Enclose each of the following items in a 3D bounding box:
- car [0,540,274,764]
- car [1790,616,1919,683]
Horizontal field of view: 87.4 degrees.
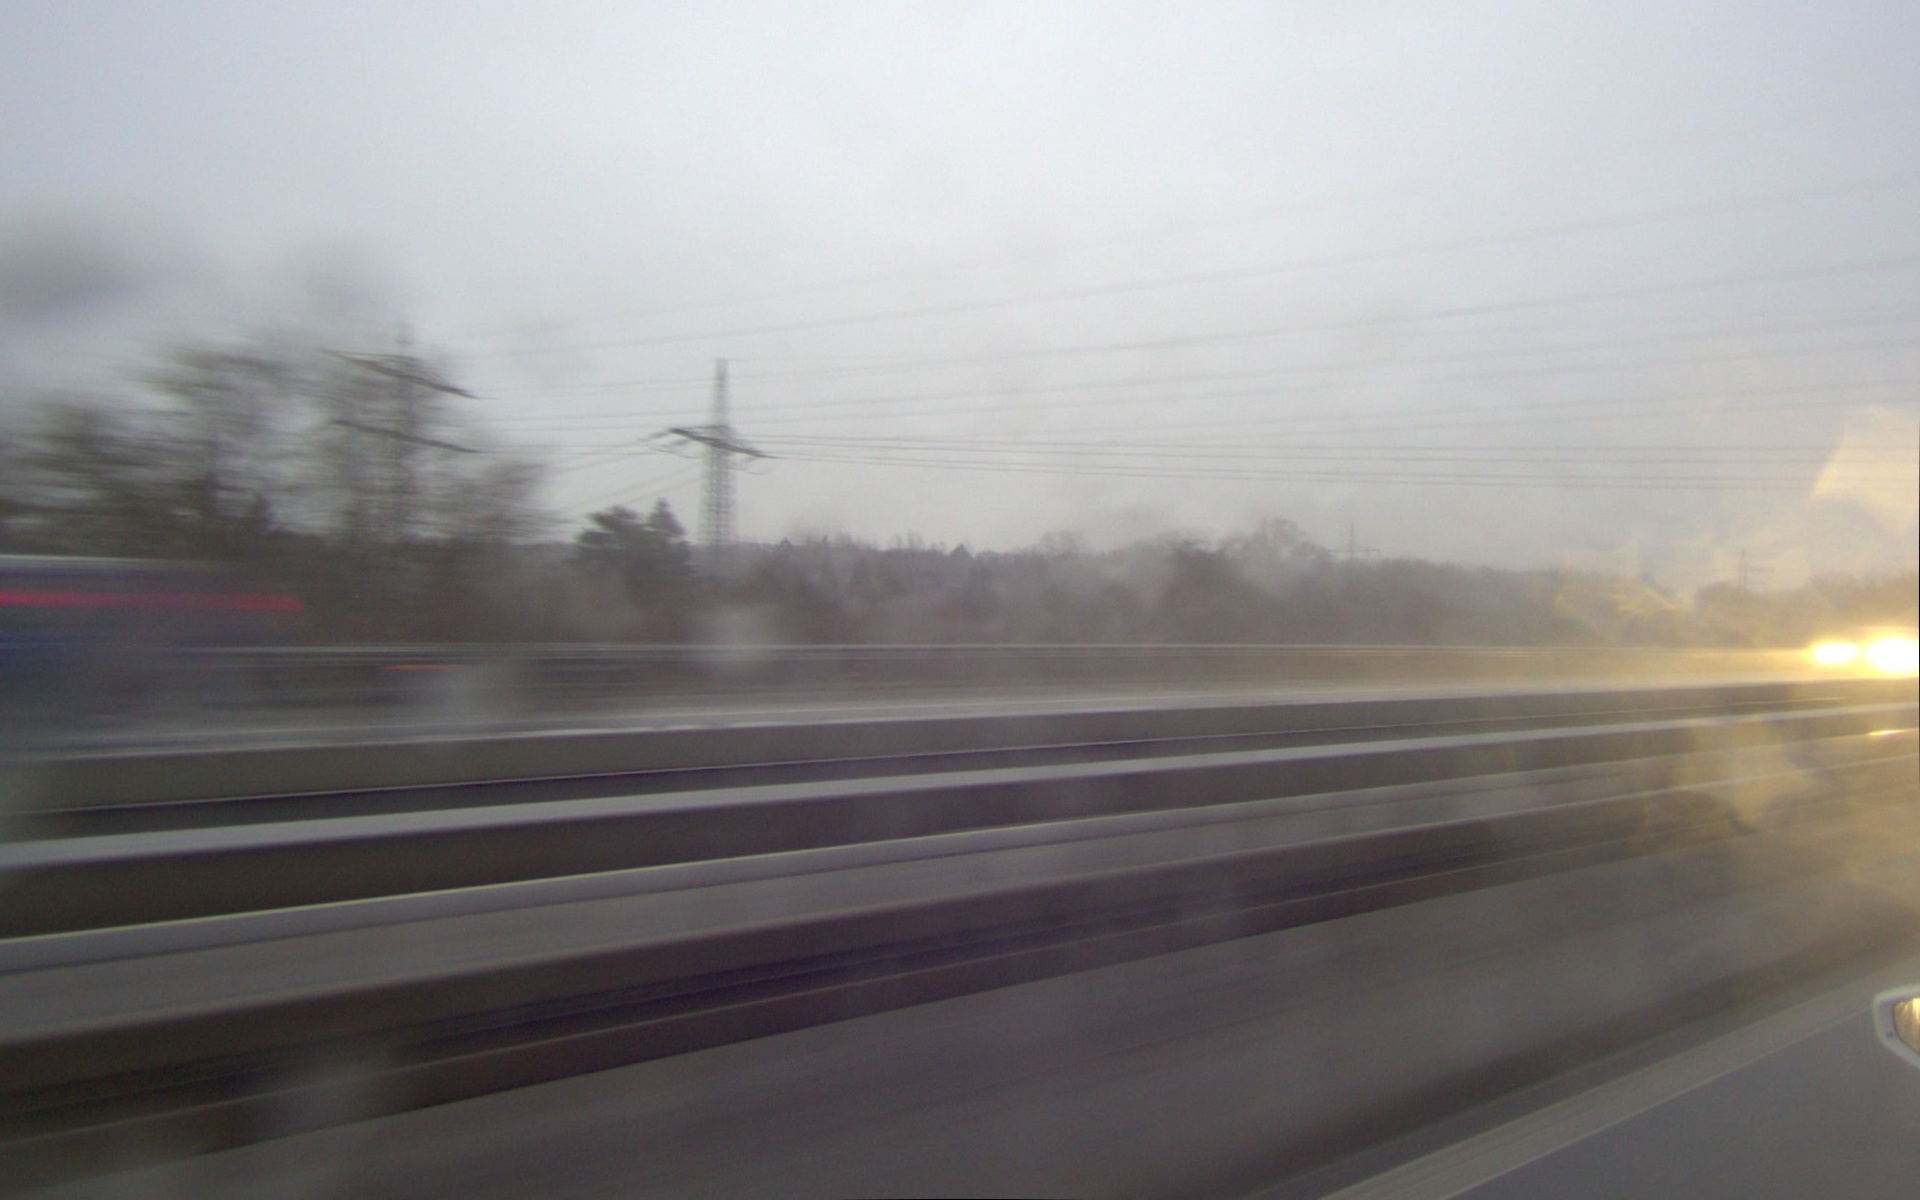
[{"bbox_3d":[-8.946,0.408,8.675,4.791,1.815,2.060,2,-1,-31],"label":"car"},{"bbox_3d":[26.714,1.441,29.694,4.289,1.815,2.060,2,-1,-31],"label":"car"}]
